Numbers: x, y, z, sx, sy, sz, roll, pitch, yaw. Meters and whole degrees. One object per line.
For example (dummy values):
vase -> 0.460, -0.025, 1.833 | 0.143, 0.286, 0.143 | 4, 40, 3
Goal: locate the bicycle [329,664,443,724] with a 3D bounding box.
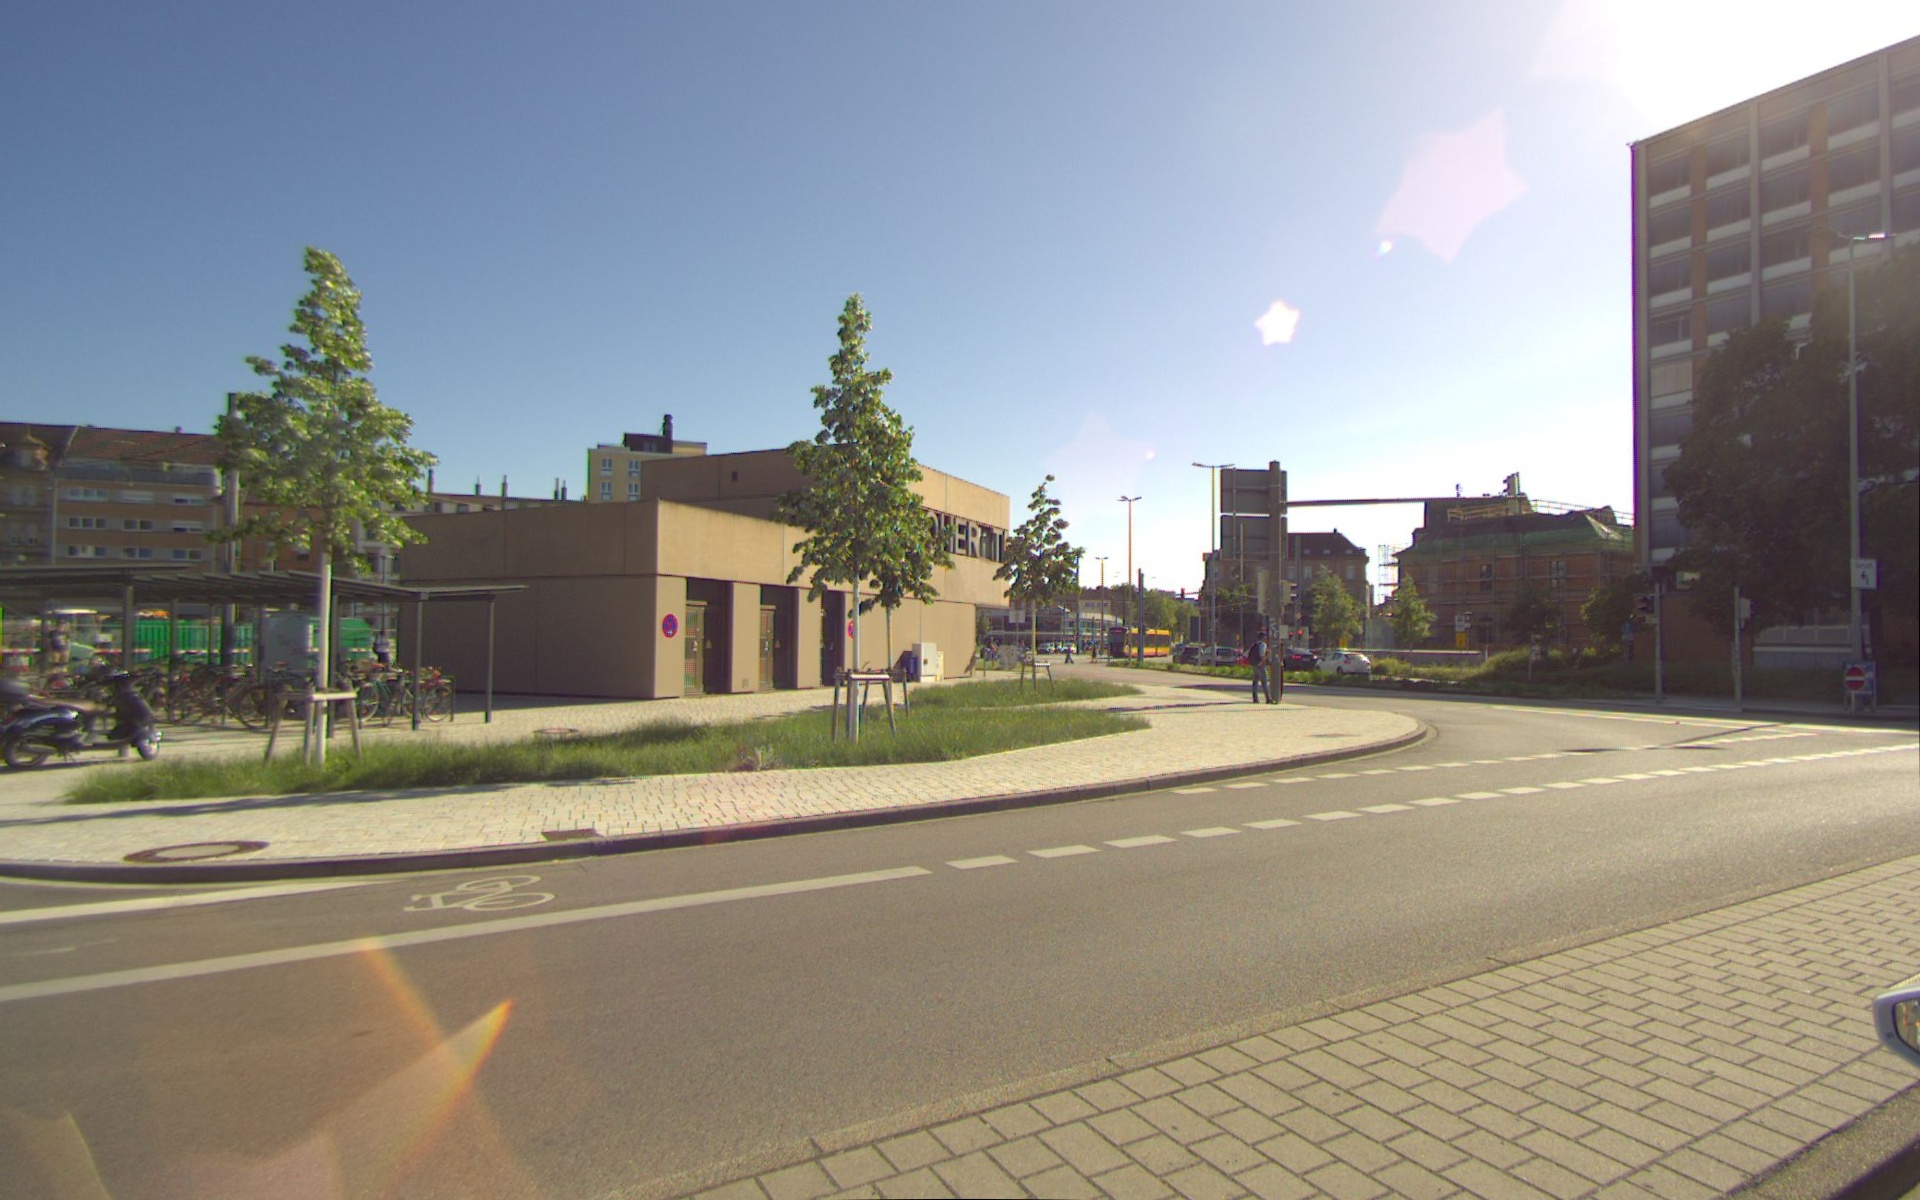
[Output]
bicycle -> -10.708, 1.733, 18.814 | 0.449, 1.022, 1.902 | 0, -2, 26

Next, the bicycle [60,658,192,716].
bicycle -> -15.919, 1.643, 19.234 | 0.449, 1.022, 1.902 | 0, -2, 26

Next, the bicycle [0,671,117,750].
bicycle -> -13.030, 1.536, 14.009 | 0.449, 1.022, 1.902 | 0, -2, 26

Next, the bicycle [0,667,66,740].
bicycle -> -14.160, 1.508, 14.440 | 0.449, 1.022, 1.902 | 0, -2, 26

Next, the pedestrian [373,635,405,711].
pedestrian -> -15.687, 2.001, 27.617 | 0.710, 2.040, 0.682 | 1, -2, -30

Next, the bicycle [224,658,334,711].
bicycle -> -14.074, 1.728, 20.823 | 0.449, 1.022, 1.902 | 0, -2, 26

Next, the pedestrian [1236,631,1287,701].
pedestrian -> 7.657, 1.671, 25.532 | 1.044, 1.753, 0.652 | 1, -2, -16

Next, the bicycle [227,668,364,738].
bicycle -> -10.912, 1.662, 16.564 | 0.449, 1.022, 1.902 | 0, -2, 26

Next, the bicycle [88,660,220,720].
bicycle -> -15.082, 1.655, 18.859 | 0.449, 1.022, 1.902 | 0, -2, 26

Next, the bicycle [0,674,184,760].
bicycle -> -11.816, 1.556, 13.718 | 0.449, 1.022, 1.902 | 0, -2, 26

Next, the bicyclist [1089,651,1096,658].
bicyclist -> 11.186, 4.585, 84.889 | 0.560, 0.556, 0.431 | 0, -2, 11

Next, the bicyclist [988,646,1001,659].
bicyclist -> 3.244, 4.909, 93.719 | 0.953, 1.182, 0.892 | 1, -2, -19

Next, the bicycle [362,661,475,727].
bicycle -> -9.929, 1.696, 18.484 | 0.449, 1.112, 1.902 | 0, -2, 26

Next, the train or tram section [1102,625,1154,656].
train or tram section -> 19.046, 4.483, 113.270 | 2.651, 3.275, 10.589 | 2, 0, 27

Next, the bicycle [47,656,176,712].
bicycle -> -16.701, 1.638, 19.833 | 0.449, 1.022, 1.902 | 0, -2, 26

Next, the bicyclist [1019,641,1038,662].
bicyclist -> 5.896, 4.405, 86.016 | 1.544, 1.655, 0.811 | 2, 0, 4

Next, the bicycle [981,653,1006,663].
bicycle -> 3.117, 5.387, 93.658 | 2.207, 0.894, 0.892 | 1, -2, -19

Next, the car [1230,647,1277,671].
car -> 20.207, 4.027, 69.245 | 1.760, 1.528, 3.880 | 1, -2, -6

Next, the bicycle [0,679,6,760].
bicycle -> -12.747, 1.484, 11.998 | 0.449, 1.022, 1.902 | 0, -2, 26

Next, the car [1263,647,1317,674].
car -> 20.578, 3.763, 62.785 | 1.760, 1.528, 3.880 | 1, -2, -6

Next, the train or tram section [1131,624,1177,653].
train or tram section -> 23.755, 4.671, 122.731 | 2.651, 3.275, 10.589 | 2, 0, 27

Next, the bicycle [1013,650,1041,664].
bicycle -> 5.771, 4.888, 86.041 | 2.370, 1.076, 0.811 | 2, 0, 4

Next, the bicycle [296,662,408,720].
bicycle -> -11.798, 1.743, 19.571 | 0.449, 1.022, 1.902 | 0, -2, 26

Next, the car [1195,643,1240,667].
car -> 17.460, 3.689, 68.266 | 1.760, 1.528, 3.880 | 1, -2, -6

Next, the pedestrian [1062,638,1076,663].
pedestrian -> 8.881, 4.111, 81.835 | 1.023, 2.040, 0.724 | 1, -2, -9

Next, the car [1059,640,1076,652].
car -> 15.196, 6.448, 141.618 | 1.709, 1.672, 4.002 | 0, -2, 17

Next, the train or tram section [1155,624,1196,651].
train or tram section -> 28.484, 4.860, 132.181 | 2.651, 3.275, 10.589 | 2, 0, 27

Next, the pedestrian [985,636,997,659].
pedestrian -> 2.592, 3.966, 84.218 | 0.862, 1.889, 0.730 | 1, -2, -9

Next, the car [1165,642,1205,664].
car -> 16.778, 3.924, 74.992 | 1.760, 1.528, 3.880 | 1, -2, -6

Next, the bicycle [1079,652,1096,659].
bicycle -> 10.783, 4.712, 84.960 | 1.381, 0.556, 0.435 | 0, -2, 11

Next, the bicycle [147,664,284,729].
bicycle -> -12.900, 1.648, 17.484 | 0.449, 1.022, 1.902 | 0, -2, 26

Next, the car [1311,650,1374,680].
car -> 21.251, 3.590, 55.929 | 1.760, 1.528, 3.880 | 1, -2, -6

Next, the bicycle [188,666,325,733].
bicycle -> -11.890, 1.651, 17.054 | 0.449, 1.022, 1.902 | 0, -2, 26

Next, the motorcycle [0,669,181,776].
motorcycle -> -10.921, 1.475, 12.464 | 0.508, 1.166, 1.947 | 0, -2, 25
